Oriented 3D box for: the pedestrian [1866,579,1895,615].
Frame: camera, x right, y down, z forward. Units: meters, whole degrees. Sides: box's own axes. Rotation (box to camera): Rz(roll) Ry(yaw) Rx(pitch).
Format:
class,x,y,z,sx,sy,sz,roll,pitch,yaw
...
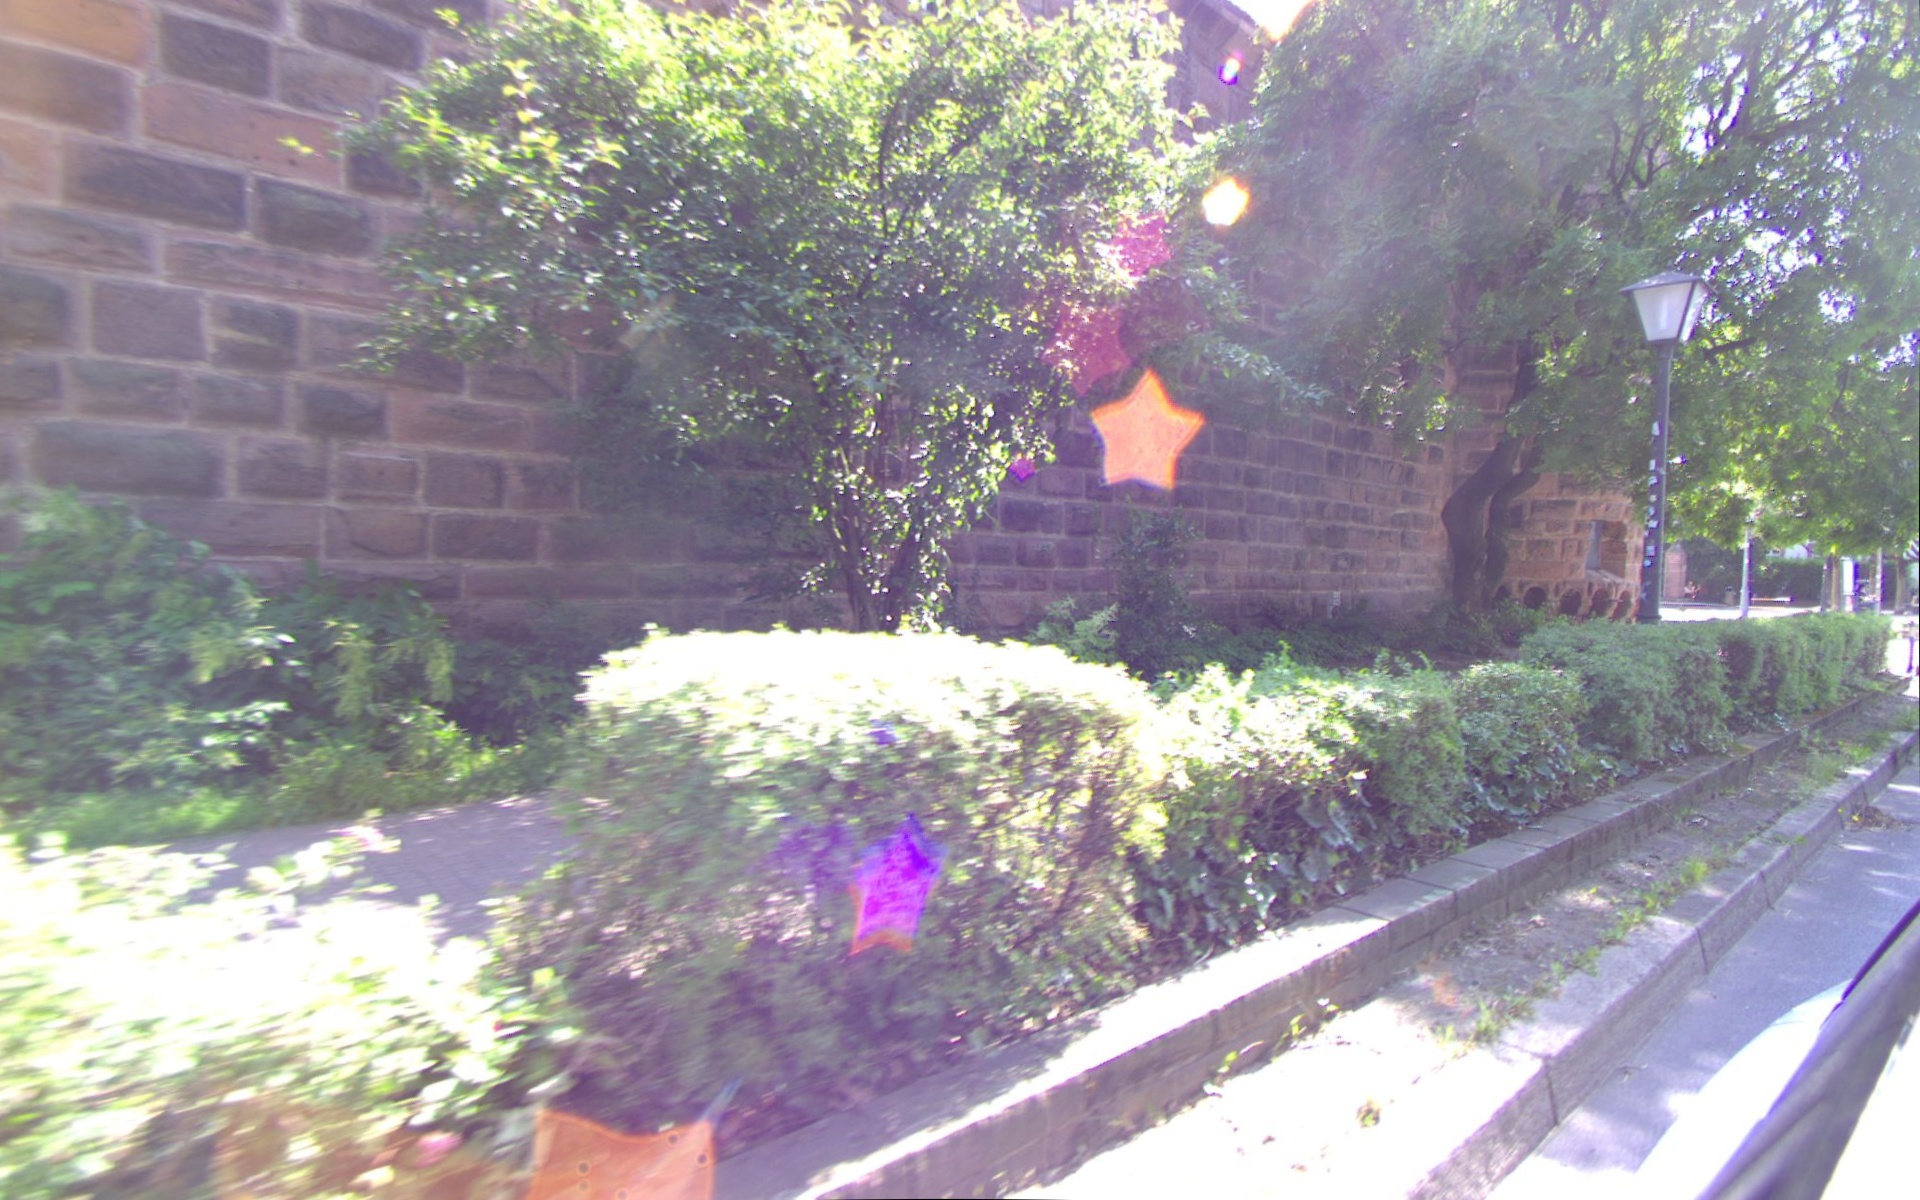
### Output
class,x,y,z,sx,sy,sz,roll,pitch,yaw
pedestrian,31.144,-0.112,34.229,0.733,1.208,0.632,-1,0,-39
